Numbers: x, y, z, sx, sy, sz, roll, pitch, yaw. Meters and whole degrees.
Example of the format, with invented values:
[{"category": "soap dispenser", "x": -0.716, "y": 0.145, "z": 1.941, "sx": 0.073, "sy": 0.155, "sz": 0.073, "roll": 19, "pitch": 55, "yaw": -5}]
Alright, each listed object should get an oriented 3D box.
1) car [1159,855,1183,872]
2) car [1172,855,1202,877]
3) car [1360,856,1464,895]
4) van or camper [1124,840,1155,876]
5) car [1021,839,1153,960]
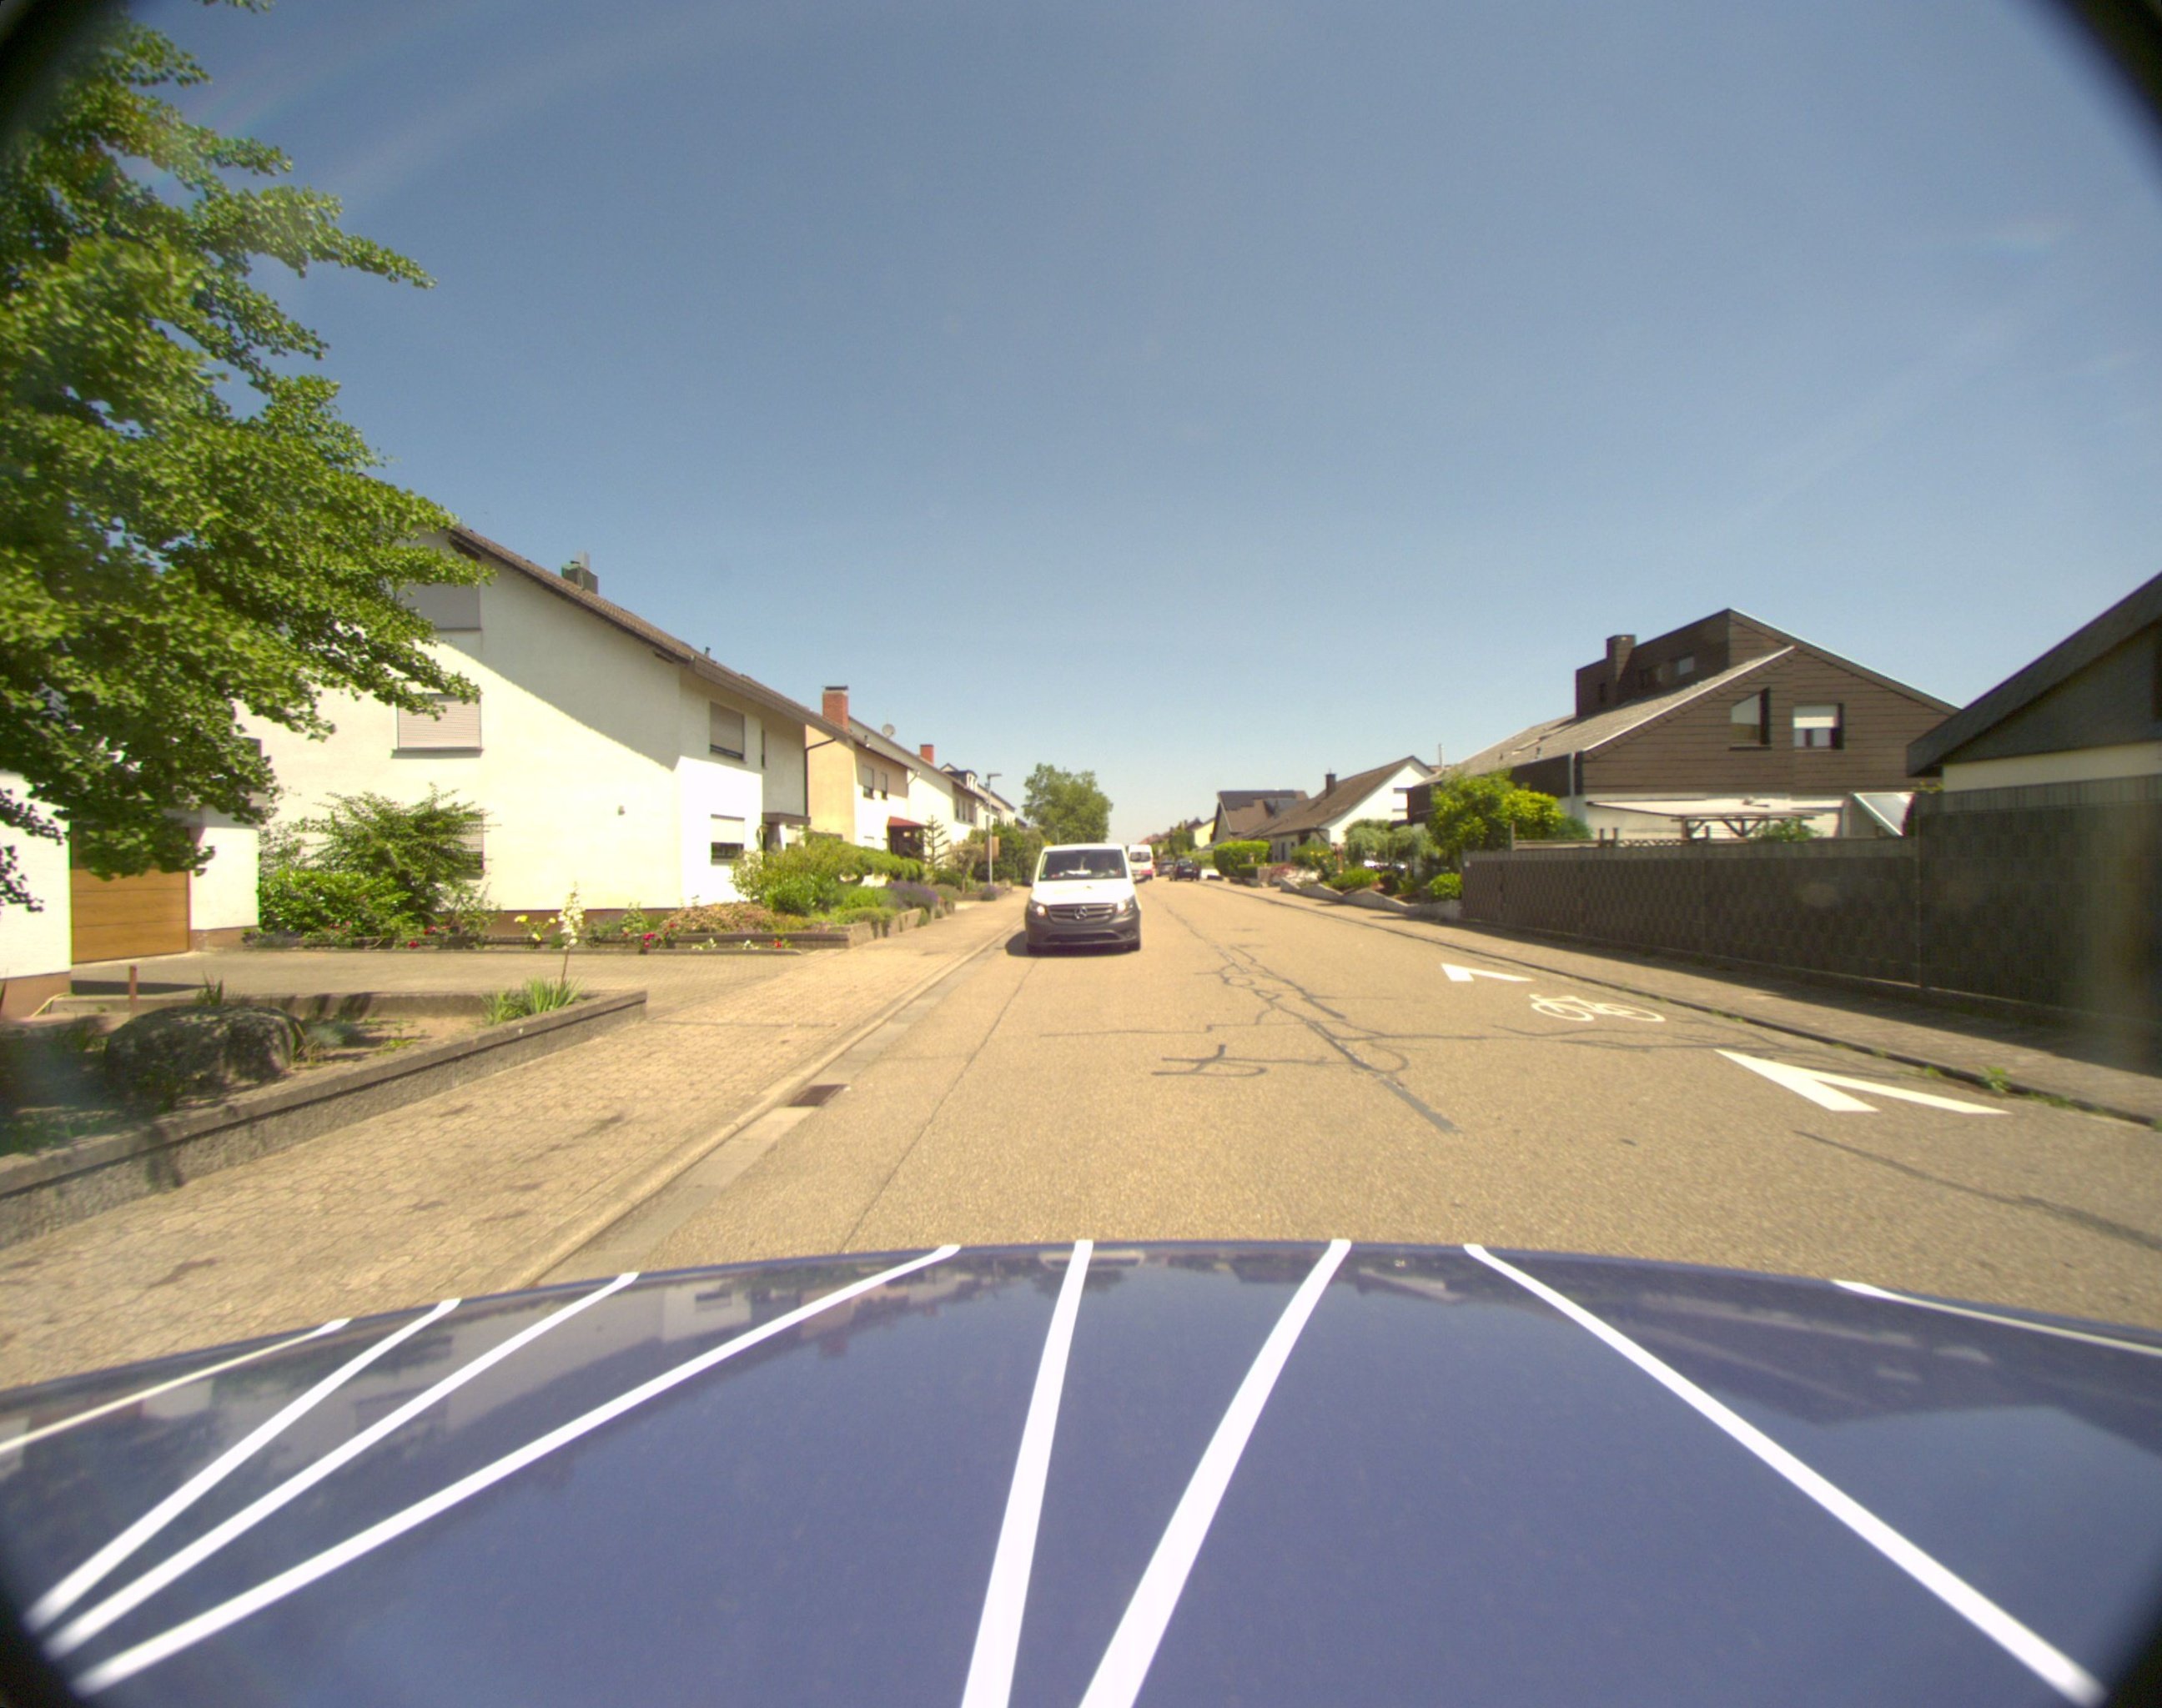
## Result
[{"category": "car", "x": 8.147, "y": 0.850, "z": 69.355, "sx": 1.998, "sy": 1.390, "sz": 4.001, "roll": -1, "pitch": 0, "yaw": 5}, {"category": "car", "x": 7.365, "y": 0.805, "z": 53.176, "sx": 1.807, "sy": 1.390, "sz": 4.001, "roll": -1, "pitch": 0, "yaw": 5}, {"category": "car", "x": 15.328, "y": 0.958, "z": 35.359, "sx": 3.997, "sy": 1.674, "sz": 1.902, "roll": -1, "pitch": 0, "yaw": 0}, {"category": "van or camper", "x": 4.458, "y": 0.282, "z": 58.309, "sx": 2.069, "sy": 2.576, "sz": 4.603, "roll": -1, "pitch": 0, "yaw": 1}, {"category": "car", "x": 0.150, "y": 0.692, "z": 14.407, "sx": 2.018, "sy": 1.846, "sz": 5.068, "roll": -1, "pitch": 1, "yaw": 1}]
